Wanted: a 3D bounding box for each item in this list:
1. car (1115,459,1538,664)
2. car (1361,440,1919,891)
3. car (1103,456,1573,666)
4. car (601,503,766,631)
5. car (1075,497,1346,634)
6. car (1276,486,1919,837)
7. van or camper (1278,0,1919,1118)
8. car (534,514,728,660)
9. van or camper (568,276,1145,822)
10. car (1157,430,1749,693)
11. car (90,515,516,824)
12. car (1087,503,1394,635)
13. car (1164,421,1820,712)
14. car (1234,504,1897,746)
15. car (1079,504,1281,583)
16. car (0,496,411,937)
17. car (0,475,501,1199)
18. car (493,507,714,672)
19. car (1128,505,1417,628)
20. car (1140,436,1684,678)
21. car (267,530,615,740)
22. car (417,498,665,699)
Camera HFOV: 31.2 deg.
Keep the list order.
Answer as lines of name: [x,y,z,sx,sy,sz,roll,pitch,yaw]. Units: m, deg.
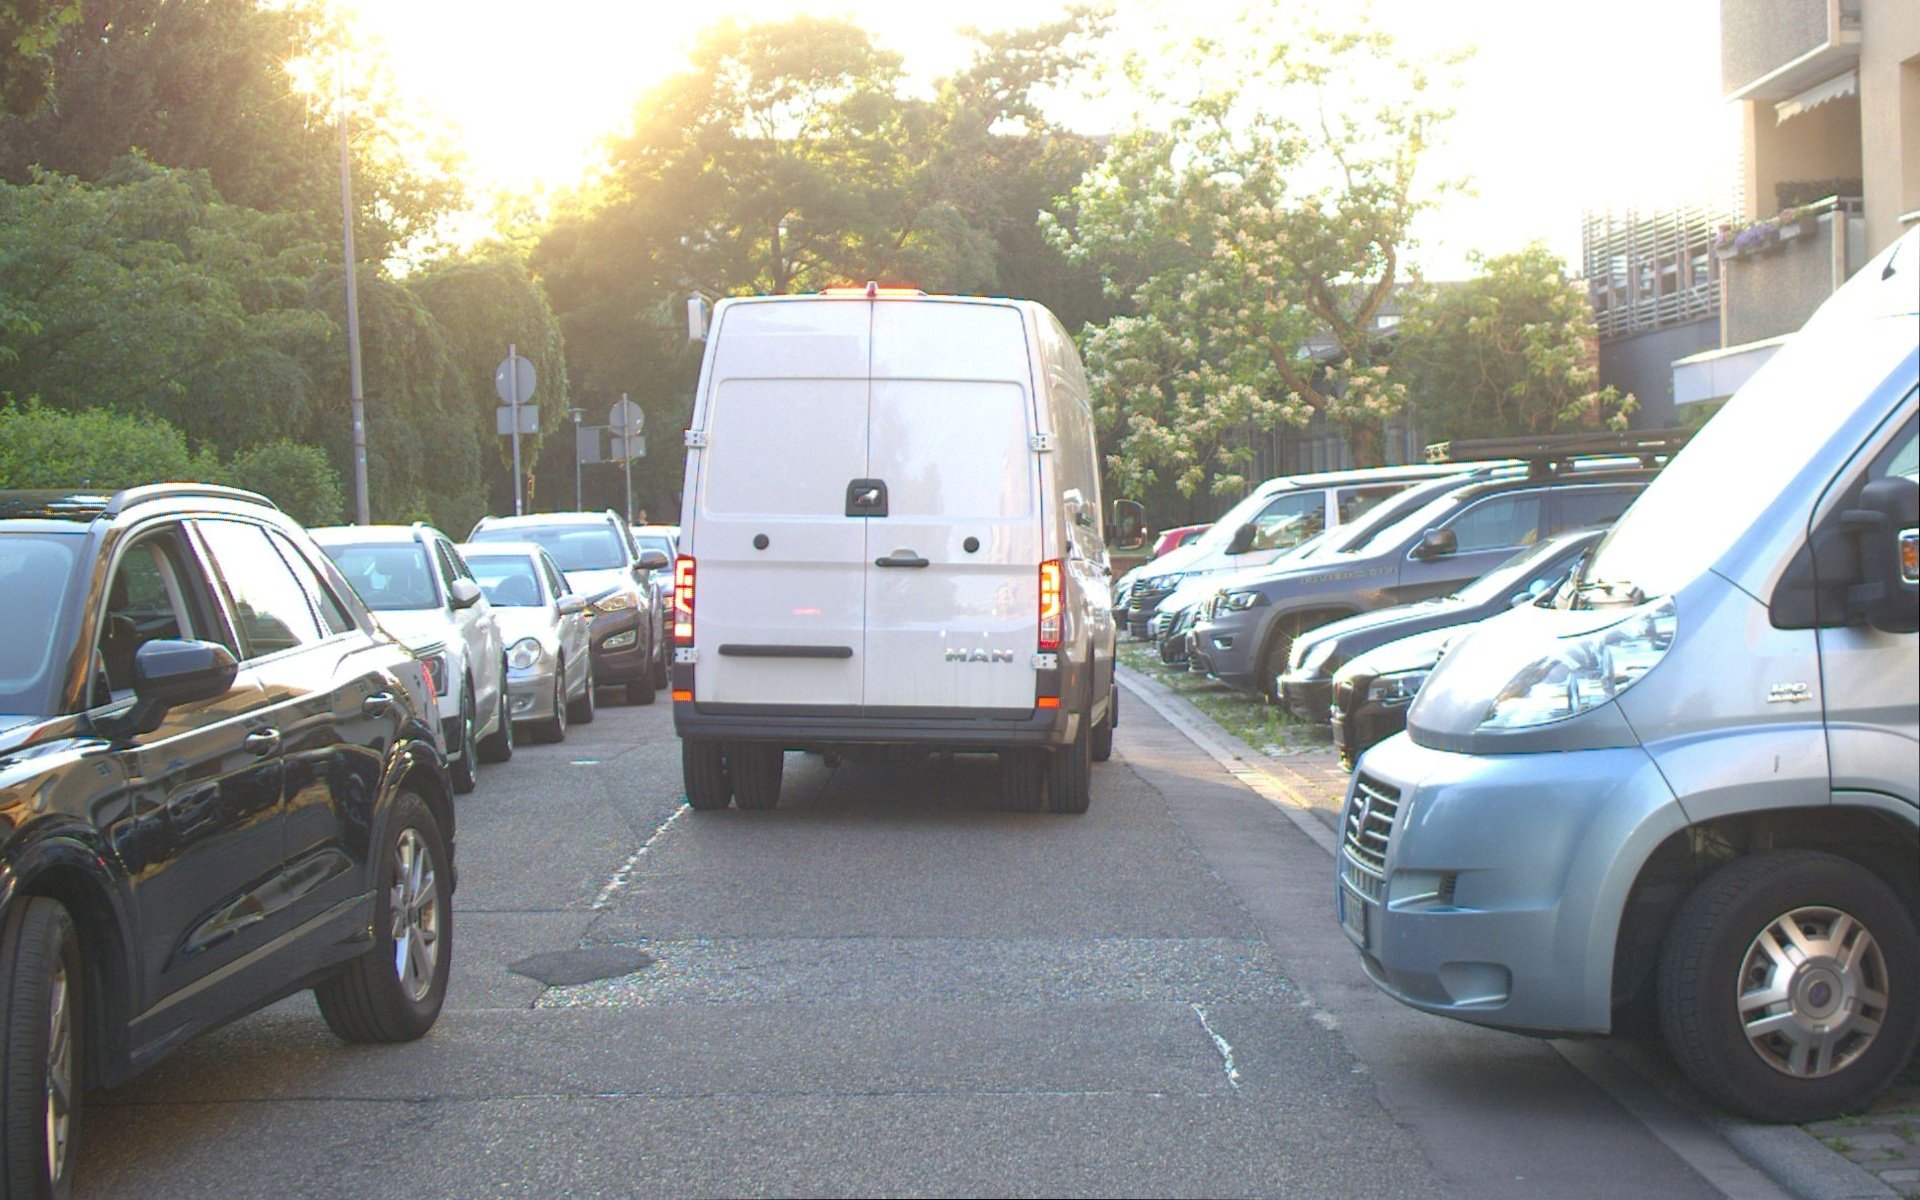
car: [4.038,-0.440,38.483,4.495,2.223,2.032,0,1,-1]
car: [4.118,0.184,14.709,4.433,1.722,1.773,-2,1,-6]
car: [3.927,-0.433,36.298,4.705,2.138,2.000,0,1,-1]
car: [-3.638,-0.471,45.776,1.993,1.612,4.001,0,1,-2]
car: [3.733,-0.533,51.820,3.987,2.007,2.000,0,1,2]
car: [3.741,0.236,17.152,3.986,1.449,1.836,-4,2,-4]
van or camper: [3.932,-0.178,9.244,5.928,2.760,2.110,0,1,-1]
car: [-3.777,-0.197,40.061,1.993,1.612,4.001,0,1,-2]
van or camper: [-0.338,-0.319,19.237,2.454,2.538,6.082,1,1,5]
car: [4.107,-0.347,29.192,4.705,2.138,2.000,0,1,-1]
car: [-3.732,0.318,20.225,1.856,1.549,4.100,-3,1,-3]
car: [3.742,-0.433,46.356,3.987,1.722,2.000,0,1,1]
car: [4.004,-0.279,26.461,4.705,2.138,2.000,0,1,-1]
car: [4.124,0.148,23.876,4.236,1.420,1.719,-3,1,-1]
car: [4.556,-1.181,71.658,3.986,1.612,2.000,0,1,-4]
car: [-3.707,0.421,14.994,1.783,1.625,4.000,-3,1,2]
car: [-2.590,0.525,8.248,1.805,1.564,4.564,-1,1,7]
car: [-3.643,-0.153,35.748,1.993,1.612,4.001,0,1,-2]
car: [4.444,-0.500,49.391,3.987,1.722,2.000,0,1,1]
car: [4.080,-0.409,31.618,4.705,2.138,2.000,0,1,-1]
car: [-3.720,0.198,25.323,1.993,1.393,4.000,0,1,-1]
car: [-3.647,-0.062,30.541,1.993,1.656,4.001,0,1,-4]
